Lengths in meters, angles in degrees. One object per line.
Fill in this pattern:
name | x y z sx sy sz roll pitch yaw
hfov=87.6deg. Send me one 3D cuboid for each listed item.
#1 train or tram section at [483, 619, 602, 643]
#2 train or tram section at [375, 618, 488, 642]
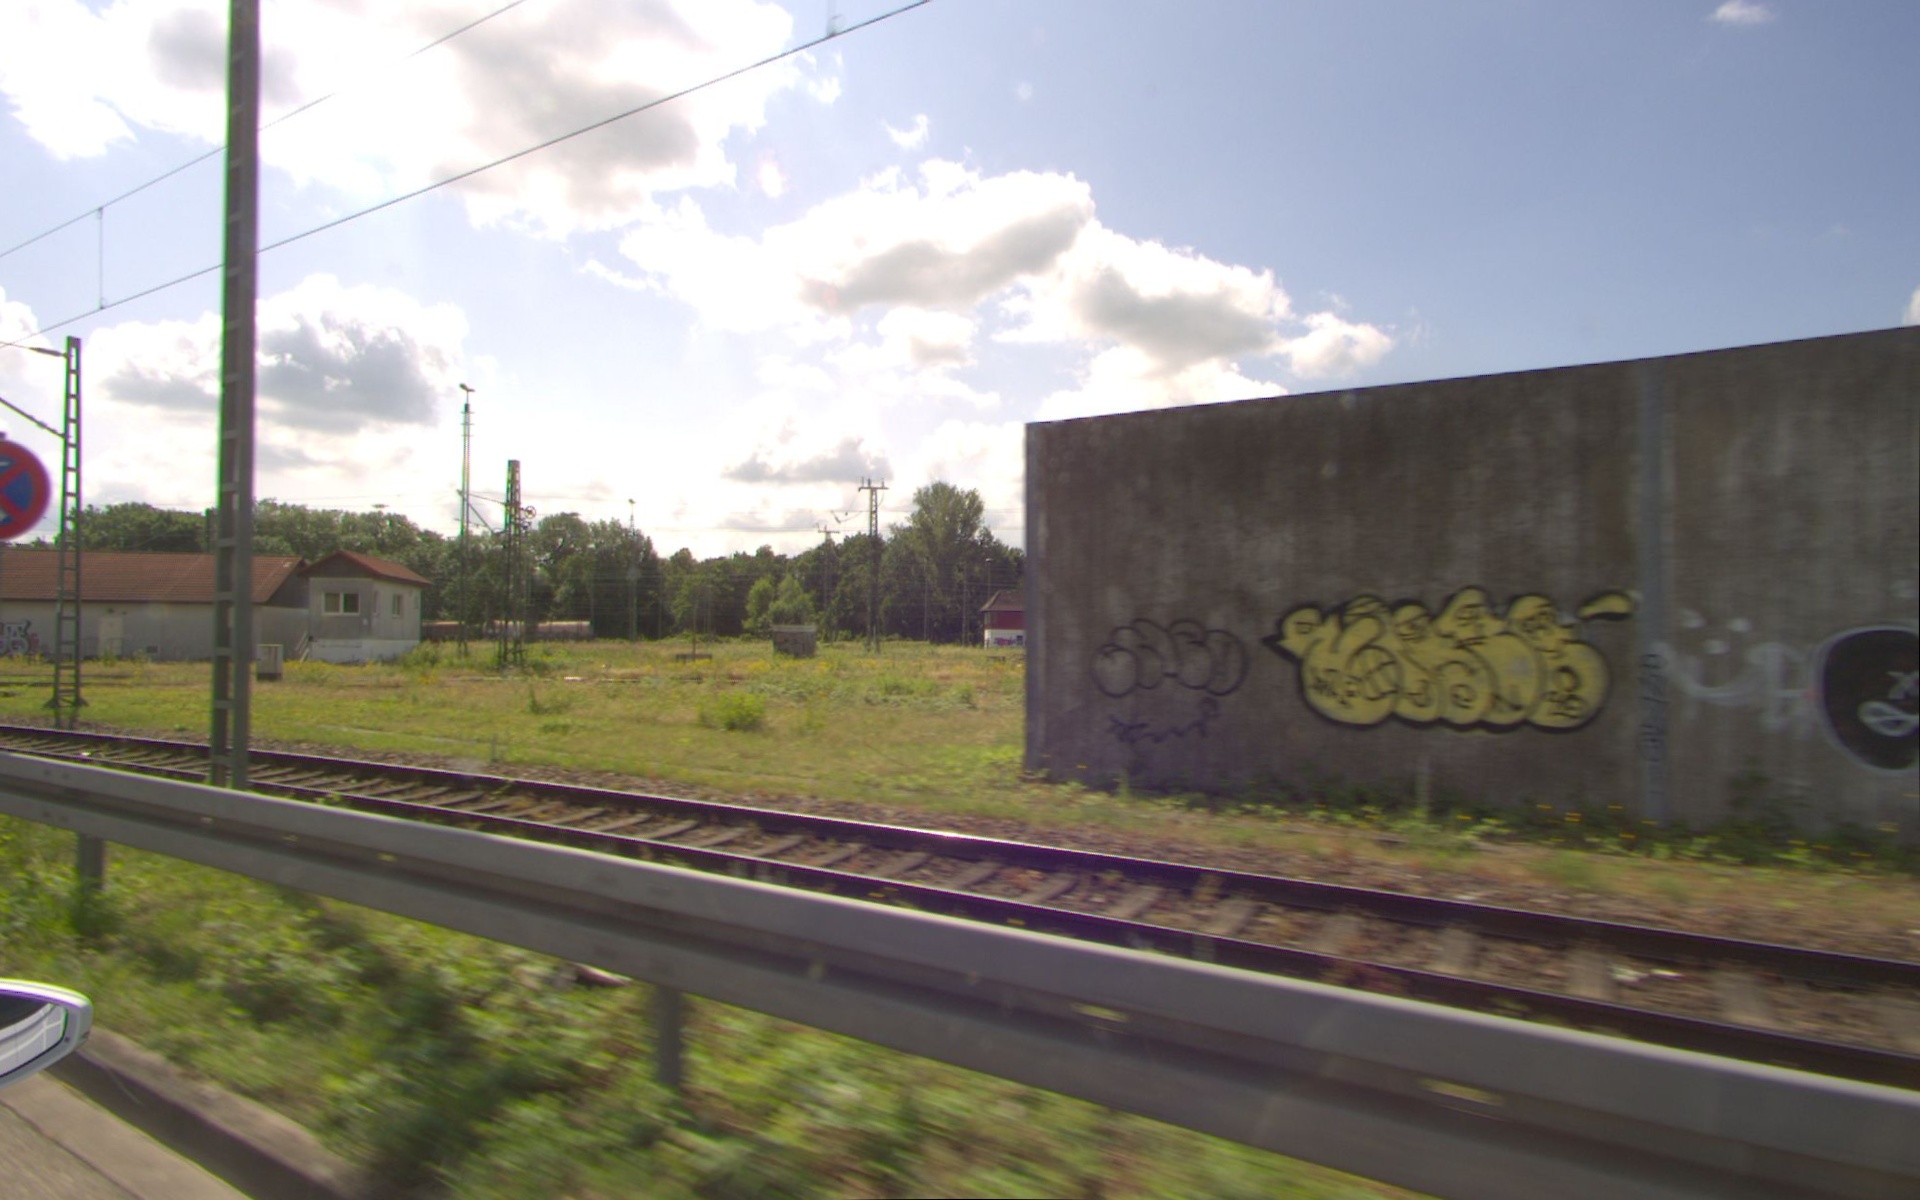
train or tram section | -59.697 4.409 143.762 15.472 3.347 3.032 0 -2 -14
train or tram section | -73.814 4.233 140.237 13.685 3.347 3.032 0 -2 -14
